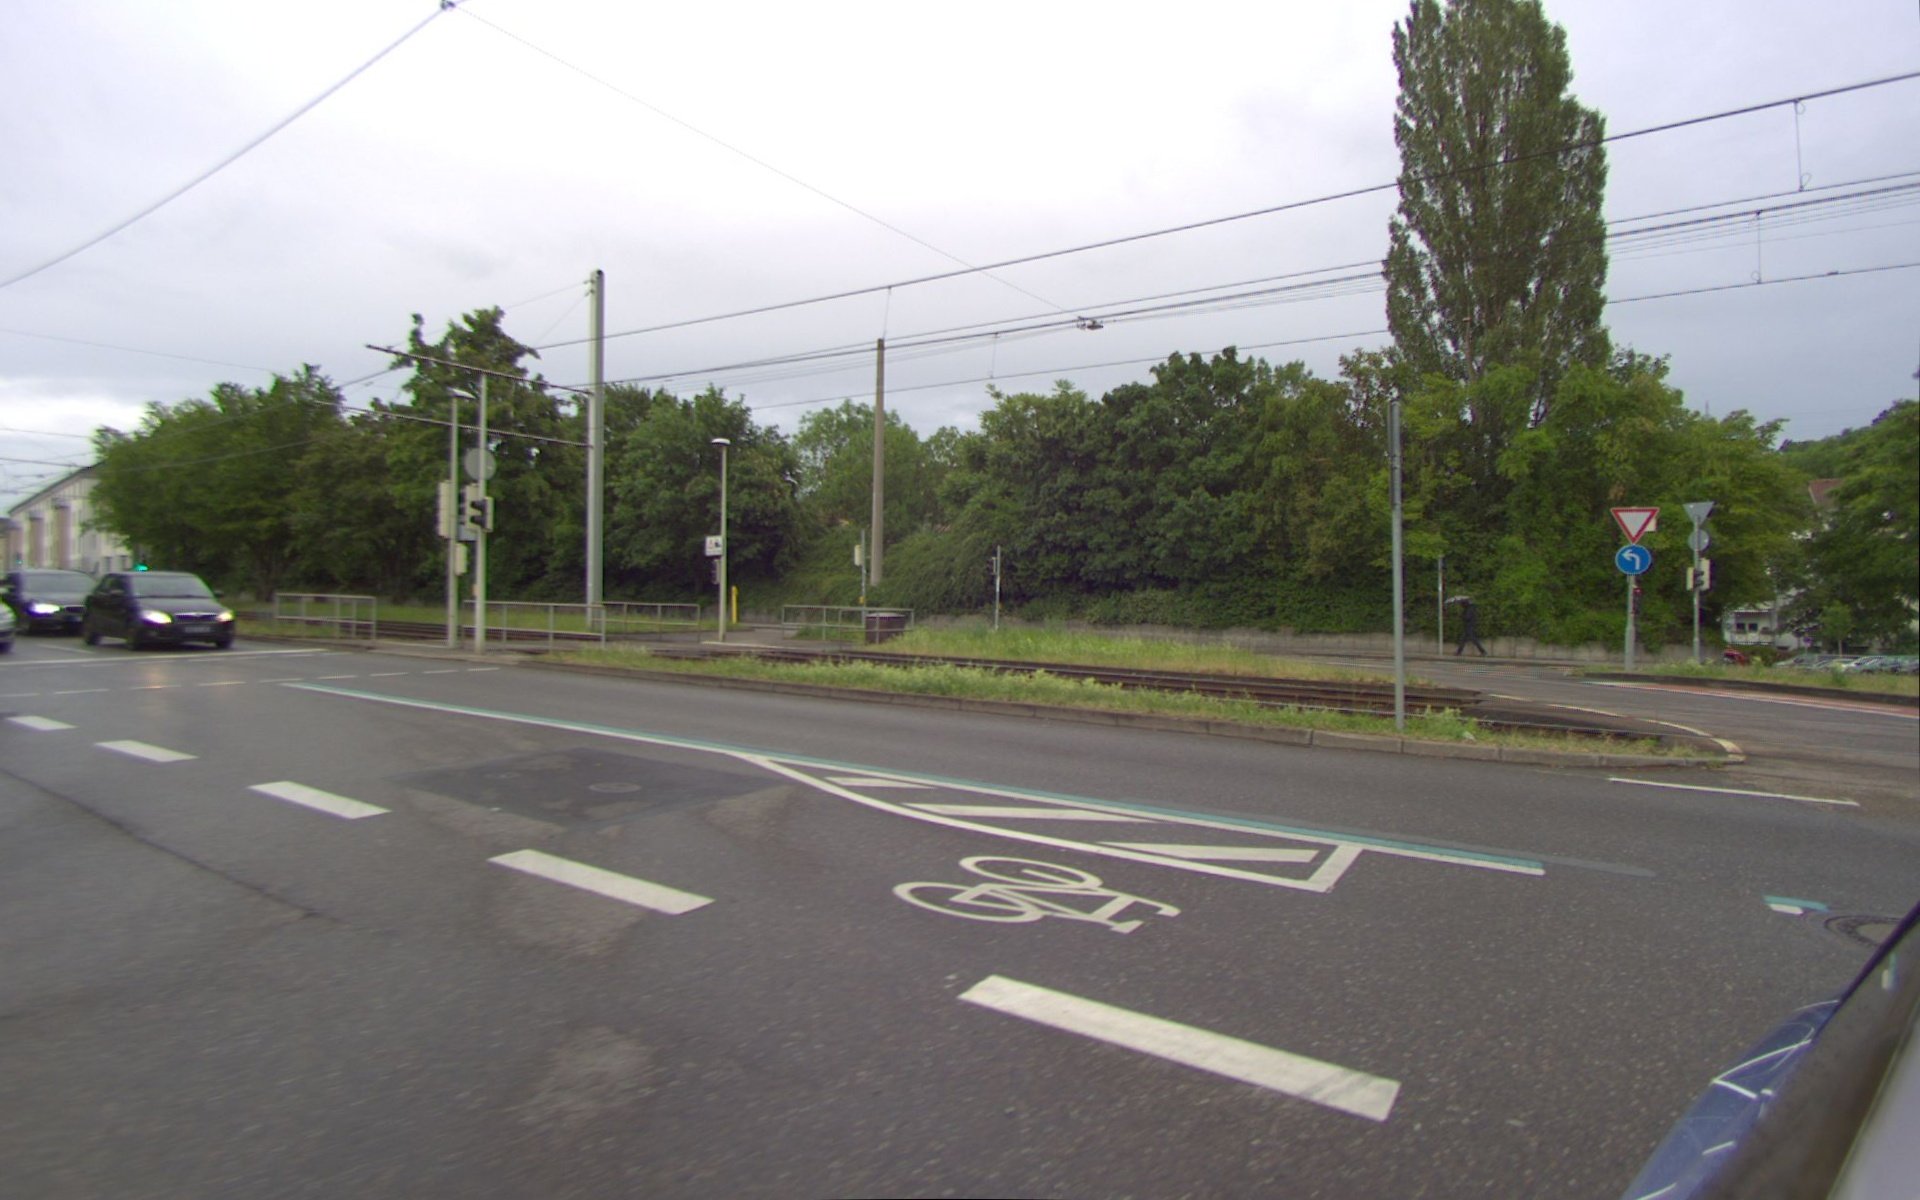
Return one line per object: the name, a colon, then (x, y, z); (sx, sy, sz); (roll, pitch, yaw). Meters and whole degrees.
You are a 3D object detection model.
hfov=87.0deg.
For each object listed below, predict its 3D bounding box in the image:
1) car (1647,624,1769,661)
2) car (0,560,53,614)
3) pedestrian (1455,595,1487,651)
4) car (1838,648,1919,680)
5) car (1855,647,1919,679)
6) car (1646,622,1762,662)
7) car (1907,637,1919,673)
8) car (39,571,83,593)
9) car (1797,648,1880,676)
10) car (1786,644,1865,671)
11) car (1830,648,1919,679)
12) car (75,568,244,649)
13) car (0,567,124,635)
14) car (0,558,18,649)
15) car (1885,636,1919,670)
car: (31.663, 1.778, 42.981); (3.968, 1.371, 1.660); (1, 0, 31)
car: (-26.409, -0.394, 27.654); (3.766, 1.419, 1.586); (2, 1, 35)
pedestrian: (15.051, 0.678, 29.824); (0.679, 1.628, 0.799); (-2, -4, 37)
car: (51.938, 3.574, 56.675); (3.972, 1.568, 1.814); (1, 0, 34)
car: (50.843, 3.406, 54.300); (3.972, 1.568, 1.814); (1, 0, 34)
car: (32.784, 1.832, 44.724); (3.968, 1.568, 1.660); (1, 0, 31)
car: (44.817, 2.497, 44.761); (3.972, 1.568, 1.814); (1, 0, 34)
car: (-67.762, -1.368, 76.259); (3.768, 1.541, 1.686); (2, -1, 36)
car: (58.846, 4.128, 67.860); (3.972, 1.568, 1.814); (1, 0, 34)
car: (60.565, 3.984, 70.873); (3.972, 1.667, 1.814); (1, 0, 34)
car: (53.935, 3.725, 59.527); (3.972, 1.568, 1.814); (1, 0, 34)
car: (-15.796, 0.103, 19.928); (3.766, 1.419, 1.587); (2, 2, 35)
car: (-21.001, -0.024, 23.432); (3.766, 1.419, 1.587); (2, 2, 35)
car: (-18.688, 0.028, 18.208); (3.835, 1.573, 1.705); (2, 3, 33)
car: (47.210, 2.604, 48.493); (3.972, 1.568, 1.814); (1, 0, 34)
